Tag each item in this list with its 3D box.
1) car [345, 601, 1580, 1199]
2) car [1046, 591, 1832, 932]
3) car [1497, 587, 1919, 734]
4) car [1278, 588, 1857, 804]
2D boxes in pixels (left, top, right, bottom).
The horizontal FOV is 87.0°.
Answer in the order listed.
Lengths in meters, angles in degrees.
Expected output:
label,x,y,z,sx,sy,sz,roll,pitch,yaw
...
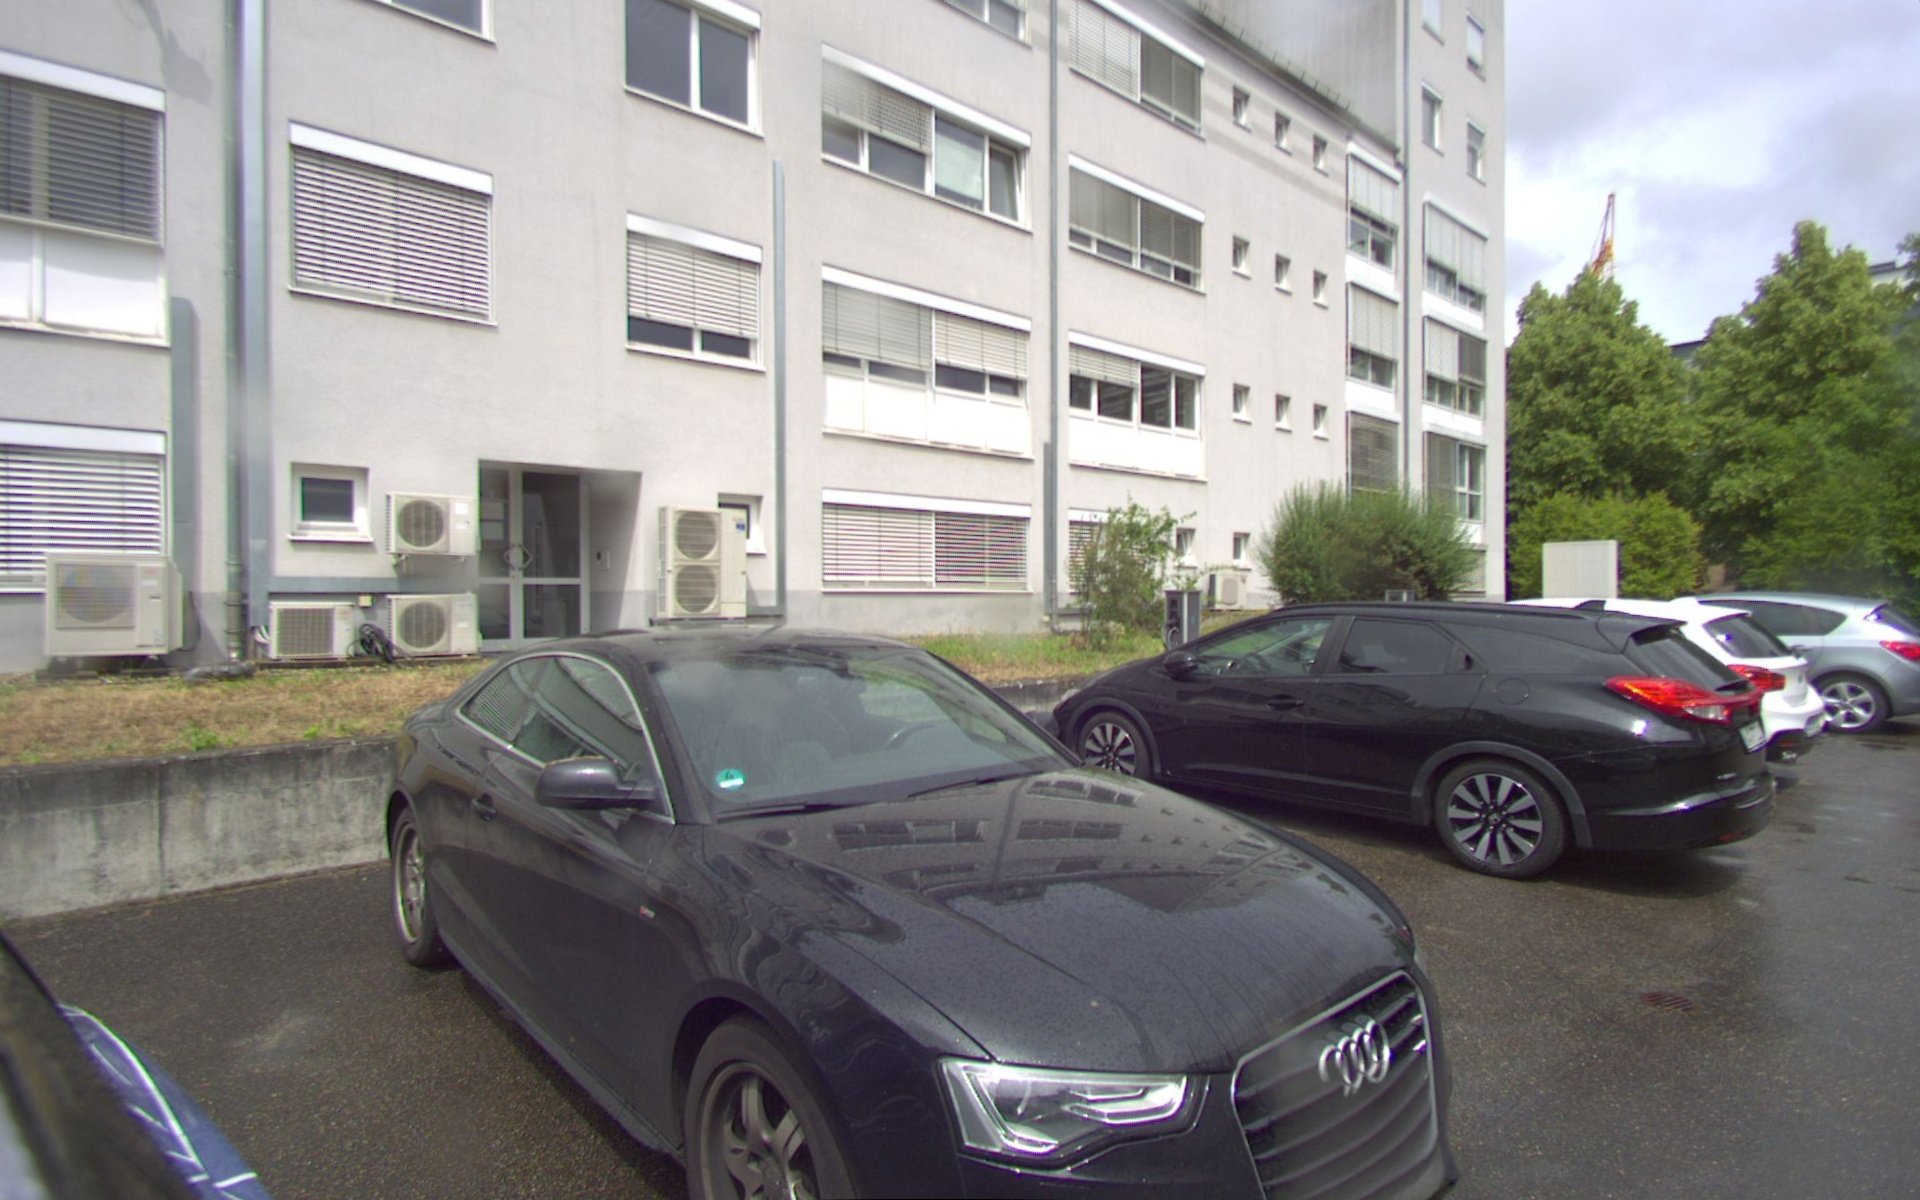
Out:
label,x,y,z,sx,sy,sz,roll,pitch,yaw
car,-0.671,0.730,3.531,1.736,1.362,4.535,-1,1,-42
car,2.741,0.688,6.613,1.736,1.453,4.321,-1,1,-43
car,9.041,0.584,12.096,1.736,1.453,4.321,-1,1,-43
car,5.131,0.633,9.032,1.670,1.453,4.131,-1,1,-41
